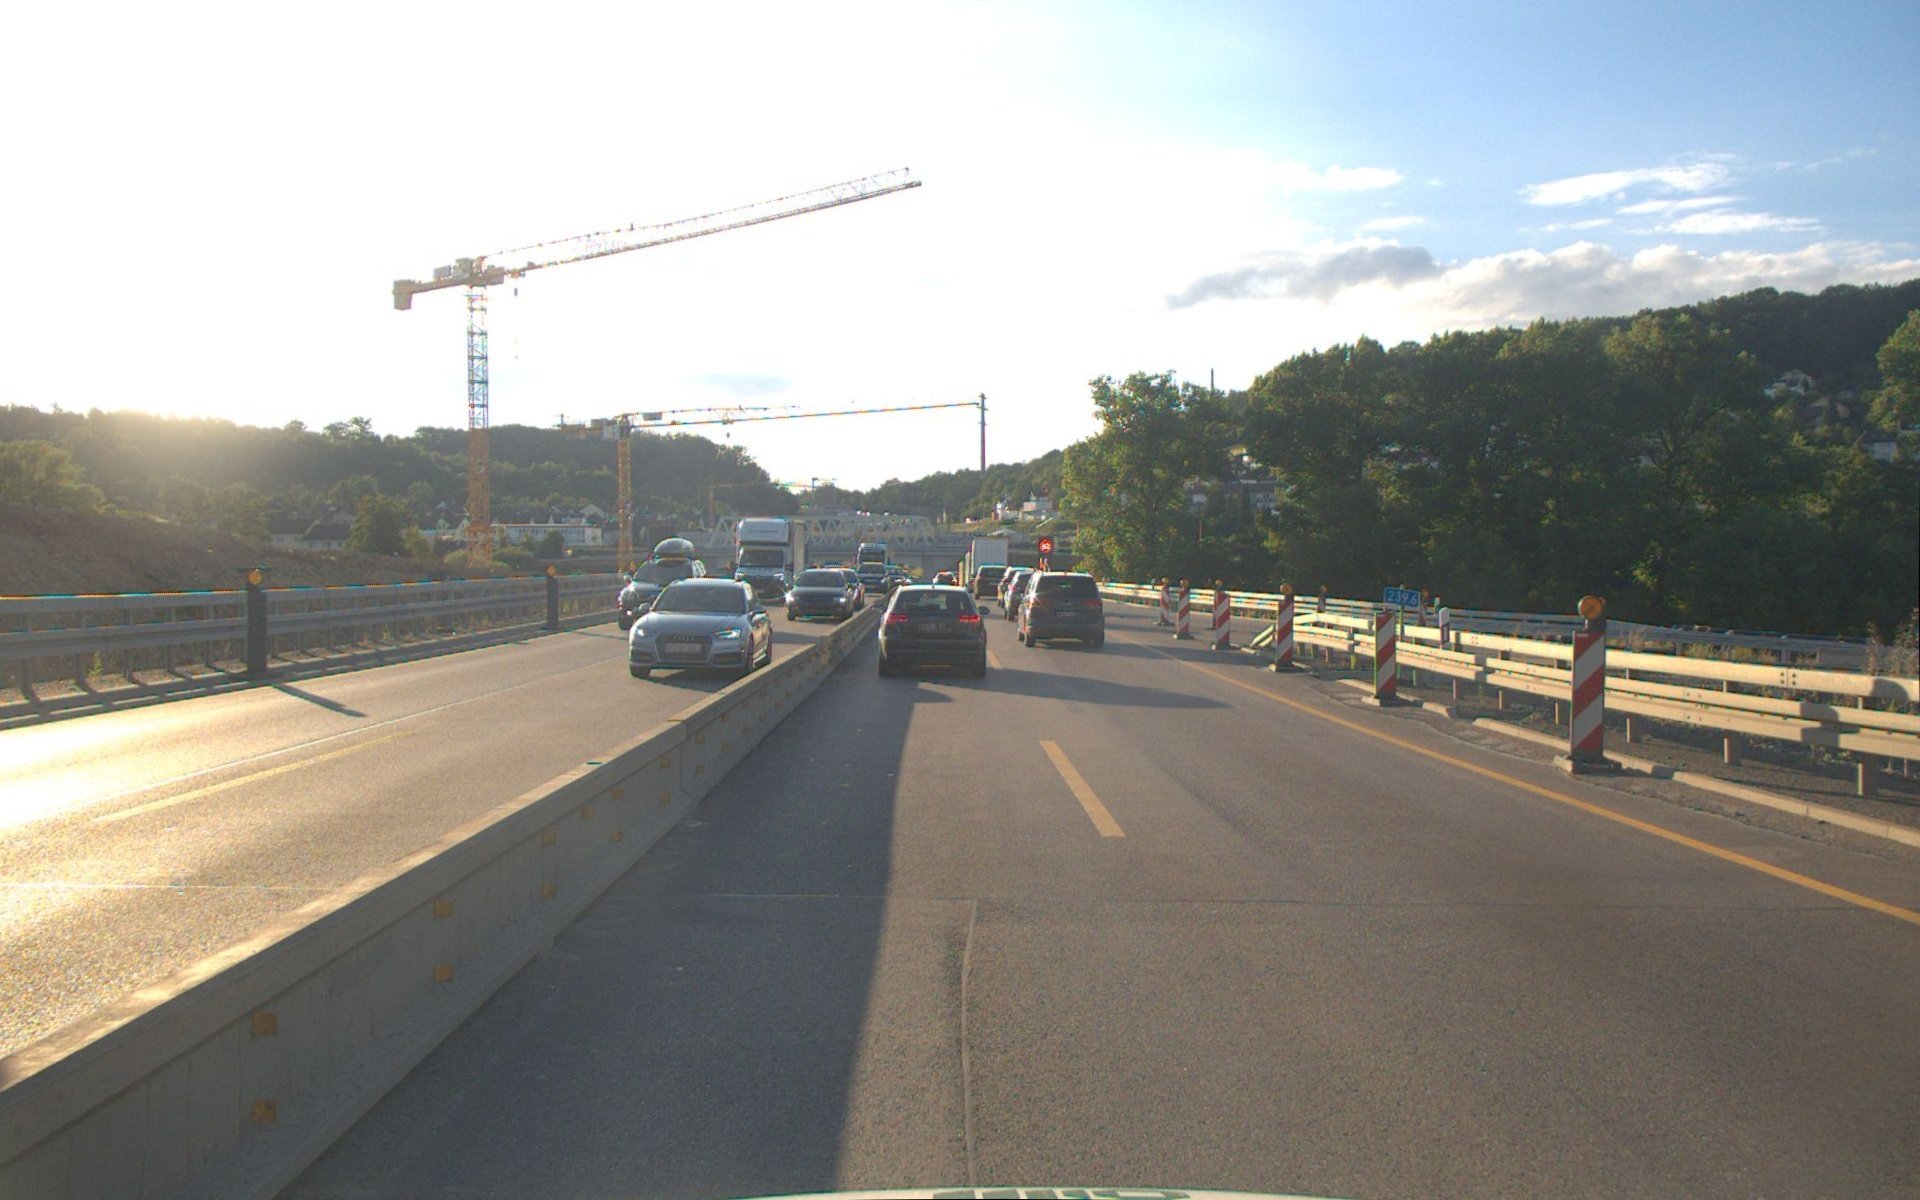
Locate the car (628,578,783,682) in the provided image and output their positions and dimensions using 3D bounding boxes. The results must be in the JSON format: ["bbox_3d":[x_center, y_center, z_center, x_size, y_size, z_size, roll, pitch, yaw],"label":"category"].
[{"bbox_3d":[-3.911,0.424,26.059,1.823,1.457,4.154,1,0,-1],"label":"car"}]

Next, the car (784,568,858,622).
[{"bbox_3d":[-4.140,-0.155,49.854,1.778,1.488,4.706,1,0,0],"label":"car"}]

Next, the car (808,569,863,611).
[{"bbox_3d":[-4.598,-0.410,61.796,1.779,1.488,4.705,1,1,-1],"label":"car"}]

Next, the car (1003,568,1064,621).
[{"bbox_3d":[2.336,-0.187,53.149,1.738,1.613,4.135,1,1,0],"label":"car"}]

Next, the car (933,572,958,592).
[{"bbox_3d":[-1.084,-1.344,123.804,1.825,1.445,3.999,2,0,-1],"label":"car"}]

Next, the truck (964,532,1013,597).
[{"bbox_3d":[2.079,-2.822,126.087,3.316,4.576,15.269,1,2,0],"label":"truck"}]

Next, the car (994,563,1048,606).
[{"bbox_3d":[2.424,-0.601,66.598,1.837,1.627,4.964,1,0,-2],"label":"car"}]

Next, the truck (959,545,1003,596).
[{"bbox_3d":[1.932,-2.857,160.538,3.811,4.576,15.265,1,1,-1],"label":"truck"}]

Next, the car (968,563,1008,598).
[{"bbox_3d":[1.342,-0.942,81.864,1.778,1.661,4.410,1,0,-1],"label":"car"}]

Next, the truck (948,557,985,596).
[{"bbox_3d":[0.716,-2.991,204.700,3.813,4.576,13.841,1,1,-3],"label":"truck"}]

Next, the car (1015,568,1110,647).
[{"bbox_3d":[2.272,0.117,37.697,1.776,1.643,4.525,0,2,-2],"label":"car"}]

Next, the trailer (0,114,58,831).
[{"bbox_3d":[-6.677,-0.722,3.138,2.717,4.101,13.678,1,0,-2],"label":"trailer"}]

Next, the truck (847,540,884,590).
[{"bbox_3d":[-7.956,-2.964,139.928,2.756,4.119,5.672,0,0,0],"label":"truck"}]

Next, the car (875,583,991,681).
[{"bbox_3d":[-0.484,0.475,27.182,1.734,1.414,3.999,1,1,-2],"label":"car"}]

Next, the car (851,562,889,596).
[{"bbox_3d":[-4.514,-1.075,83.304,1.790,1.668,4.528,0,1,-2],"label":"car"}]

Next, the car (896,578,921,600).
[{"bbox_3d":[-3.752,-0.781,120.129,1.731,1.561,3.998,1,0,-2],"label":"car"}]

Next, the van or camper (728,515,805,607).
[{"bbox_3d":[-7.877,-1.595,68.128,2.408,3.559,7.412,1,1,-1],"label":"van or camper"}]

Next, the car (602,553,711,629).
[{"bbox_3d":[-7.643,-0.232,42.031,1.953,1.795,4.440,1,0,-1],"label":"car"}]
